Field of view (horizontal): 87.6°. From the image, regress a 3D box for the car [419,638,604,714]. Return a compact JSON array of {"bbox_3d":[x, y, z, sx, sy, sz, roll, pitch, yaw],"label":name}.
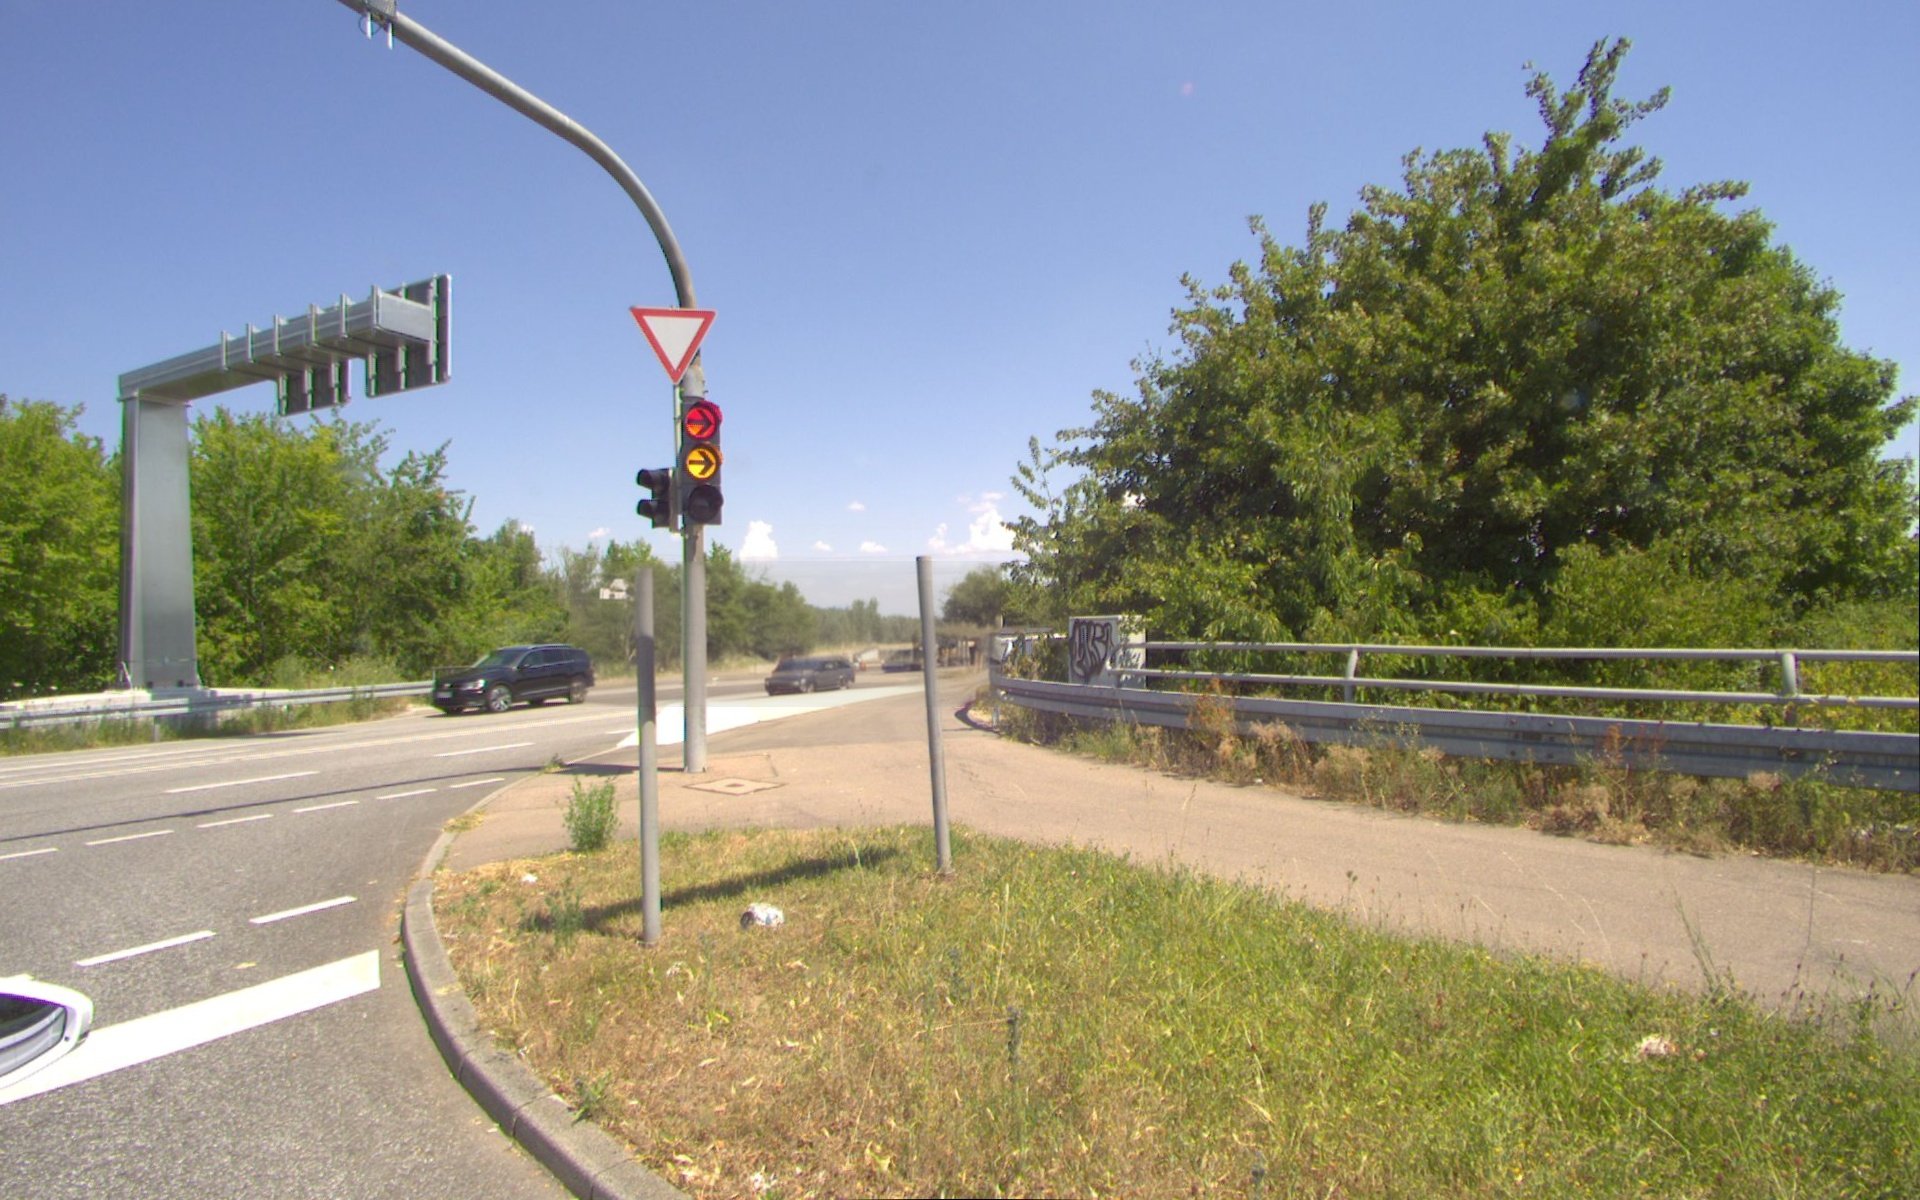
[{"bbox_3d":[-11.665,1.943,26.361,1.874,1.652,4.265,-5,-3,22],"label":"car"}]
